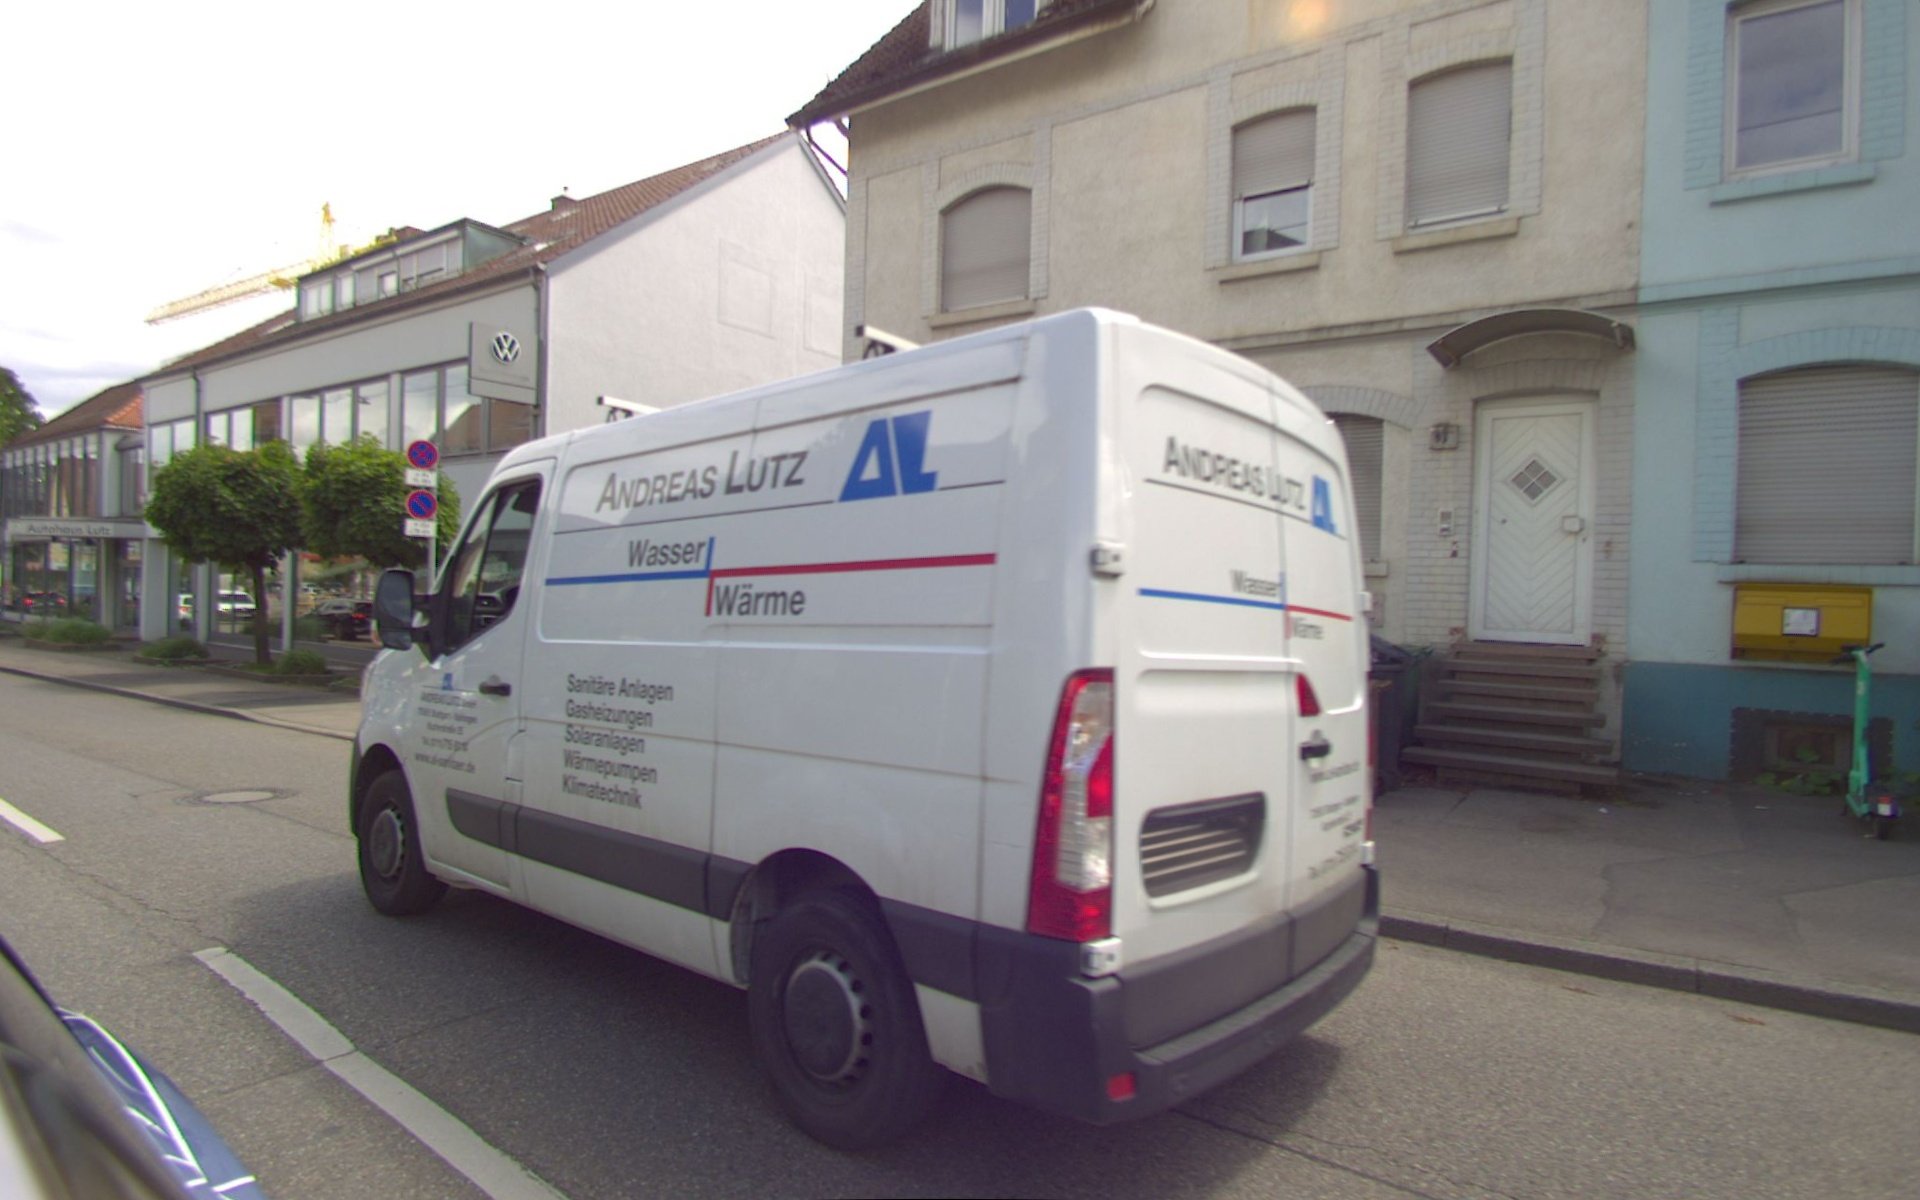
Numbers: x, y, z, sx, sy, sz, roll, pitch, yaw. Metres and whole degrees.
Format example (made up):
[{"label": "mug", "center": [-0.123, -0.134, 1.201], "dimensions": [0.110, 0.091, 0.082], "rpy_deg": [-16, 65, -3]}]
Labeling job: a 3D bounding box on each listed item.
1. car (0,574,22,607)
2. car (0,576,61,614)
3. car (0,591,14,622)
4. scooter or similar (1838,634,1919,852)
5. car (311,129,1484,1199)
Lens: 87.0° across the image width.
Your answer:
[{"label": "car", "center": [-46.272, -0.408, 46.995], "dimensions": [1.530, 1.572, 3.710], "rpy_deg": [0, 2, 33]}, {"label": "car", "center": [-43.415, -0.220, 45.640], "dimensions": [1.649, 1.642, 3.981], "rpy_deg": [0, 2, 33]}, {"label": "car", "center": [-48.270, 0.305, 48.718], "dimensions": [1.724, 1.530, 3.710], "rpy_deg": [0, 0, 33]}, {"label": "scooter or similar", "center": [6.099, 0.860, 6.474], "dimensions": [0.544, 1.193, 1.540], "rpy_deg": [2, 2, 35]}, {"label": "car", "center": [-0.806, 0.316, 4.442], "dimensions": [5.181, 2.371, 2.041], "rpy_deg": [0, -3, 42]}]
